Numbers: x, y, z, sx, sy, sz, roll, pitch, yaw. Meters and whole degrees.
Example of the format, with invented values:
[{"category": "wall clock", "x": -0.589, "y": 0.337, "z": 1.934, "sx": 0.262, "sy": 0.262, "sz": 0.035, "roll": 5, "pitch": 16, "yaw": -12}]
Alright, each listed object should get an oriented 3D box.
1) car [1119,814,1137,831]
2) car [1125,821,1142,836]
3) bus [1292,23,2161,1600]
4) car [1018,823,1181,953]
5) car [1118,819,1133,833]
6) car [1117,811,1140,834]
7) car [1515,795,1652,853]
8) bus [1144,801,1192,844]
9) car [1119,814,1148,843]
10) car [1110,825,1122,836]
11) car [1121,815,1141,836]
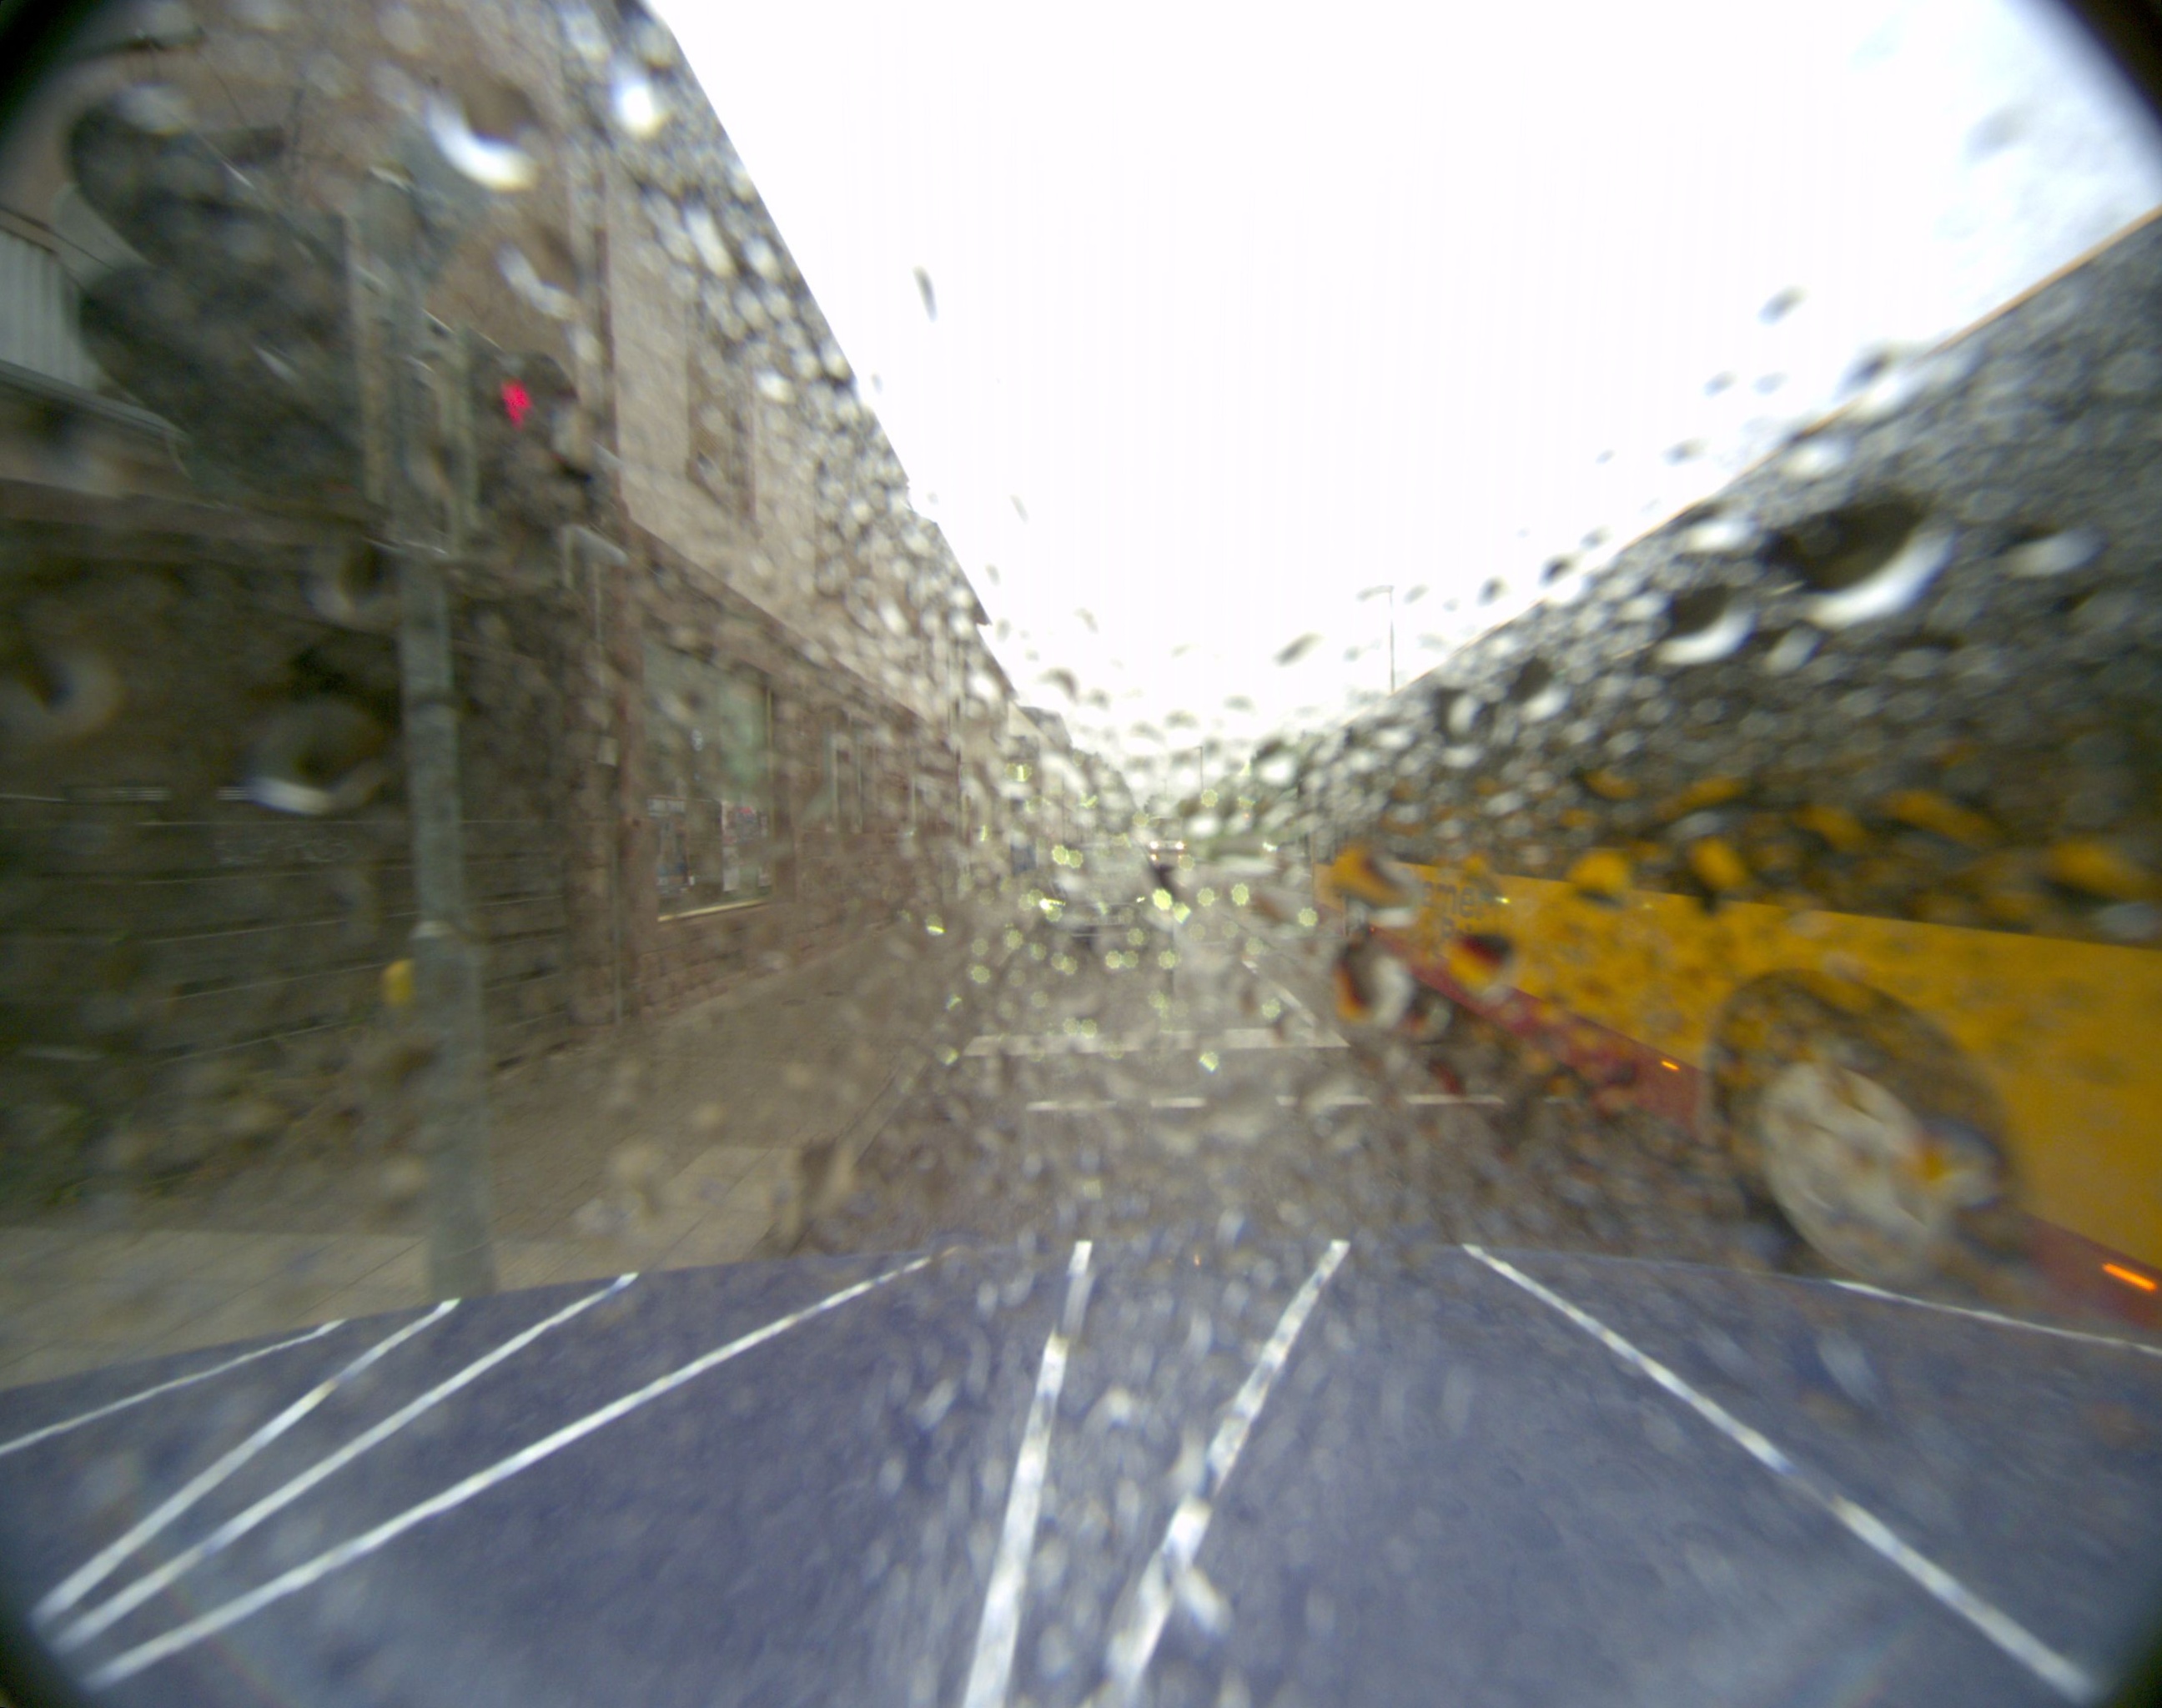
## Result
[{"category": "car", "x": 4.919, "y": -3.359, "z": 80.492, "sx": 1.779, "sy": 1.602, "sz": 4.186, "roll": -2, "pitch": 3, "yaw": 3}, {"category": "car", "x": 6.110, "y": -2.997, "z": 88.478, "sx": 1.779, "sy": 1.602, "sz": 4.186, "roll": -2, "pitch": 3, "yaw": 3}, {"category": "bus", "x": 3.734, "y": -0.222, "z": 4.421, "sx": 2.812, "sy": 2.923, "sz": 11.941, "roll": -2, "pitch": 2, "yaw": 6}, {"category": "car", "x": 0.302, "y": 0.307, "z": 10.650, "sx": 1.779, "sy": 1.349, "sz": 4.186, "roll": -2, "pitch": 3, "yaw": 3}, {"category": "car", "x": 5.690, "y": -3.599, "z": 97.659, "sx": 1.779, "sy": 1.602, "sz": 4.186, "roll": -2, "pitch": 3, "yaw": 3}, {"category": "car", "x": 3.916, "y": -2.655, "z": 62.887, "sx": 1.779, "sy": 1.788, "sz": 4.186, "roll": -2, "pitch": 3, "yaw": 3}, {"category": "car", "x": 16.778, "y": -1.046, "z": 25.640, "sx": 1.998, "sy": 1.706, "sz": 4.186, "roll": -2, "pitch": 3, "yaw": 3}, {"category": "bus", "x": 7.596, "y": -2.824, "z": 68.322, "sx": 3.440, "sy": 3.393, "sz": 13.867, "roll": -1, "pitch": 3, "yaw": 3}, {"category": "car", "x": 3.485, "y": -1.732, "z": 51.033, "sx": 1.779, "sy": 1.788, "sz": 4.186, "roll": -2, "pitch": 3, "yaw": 3}, {"category": "car", "x": 5.453, "y": -3.609, "z": 117.405, "sx": 1.779, "sy": 1.602, "sz": 4.186, "roll": -2, "pitch": 3, "yaw": 3}, {"category": "car", "x": 4.652, "y": -2.686, "z": 71.196, "sx": 1.779, "sy": 1.788, "sz": 4.186, "roll": -2, "pitch": 3, "yaw": 3}]
